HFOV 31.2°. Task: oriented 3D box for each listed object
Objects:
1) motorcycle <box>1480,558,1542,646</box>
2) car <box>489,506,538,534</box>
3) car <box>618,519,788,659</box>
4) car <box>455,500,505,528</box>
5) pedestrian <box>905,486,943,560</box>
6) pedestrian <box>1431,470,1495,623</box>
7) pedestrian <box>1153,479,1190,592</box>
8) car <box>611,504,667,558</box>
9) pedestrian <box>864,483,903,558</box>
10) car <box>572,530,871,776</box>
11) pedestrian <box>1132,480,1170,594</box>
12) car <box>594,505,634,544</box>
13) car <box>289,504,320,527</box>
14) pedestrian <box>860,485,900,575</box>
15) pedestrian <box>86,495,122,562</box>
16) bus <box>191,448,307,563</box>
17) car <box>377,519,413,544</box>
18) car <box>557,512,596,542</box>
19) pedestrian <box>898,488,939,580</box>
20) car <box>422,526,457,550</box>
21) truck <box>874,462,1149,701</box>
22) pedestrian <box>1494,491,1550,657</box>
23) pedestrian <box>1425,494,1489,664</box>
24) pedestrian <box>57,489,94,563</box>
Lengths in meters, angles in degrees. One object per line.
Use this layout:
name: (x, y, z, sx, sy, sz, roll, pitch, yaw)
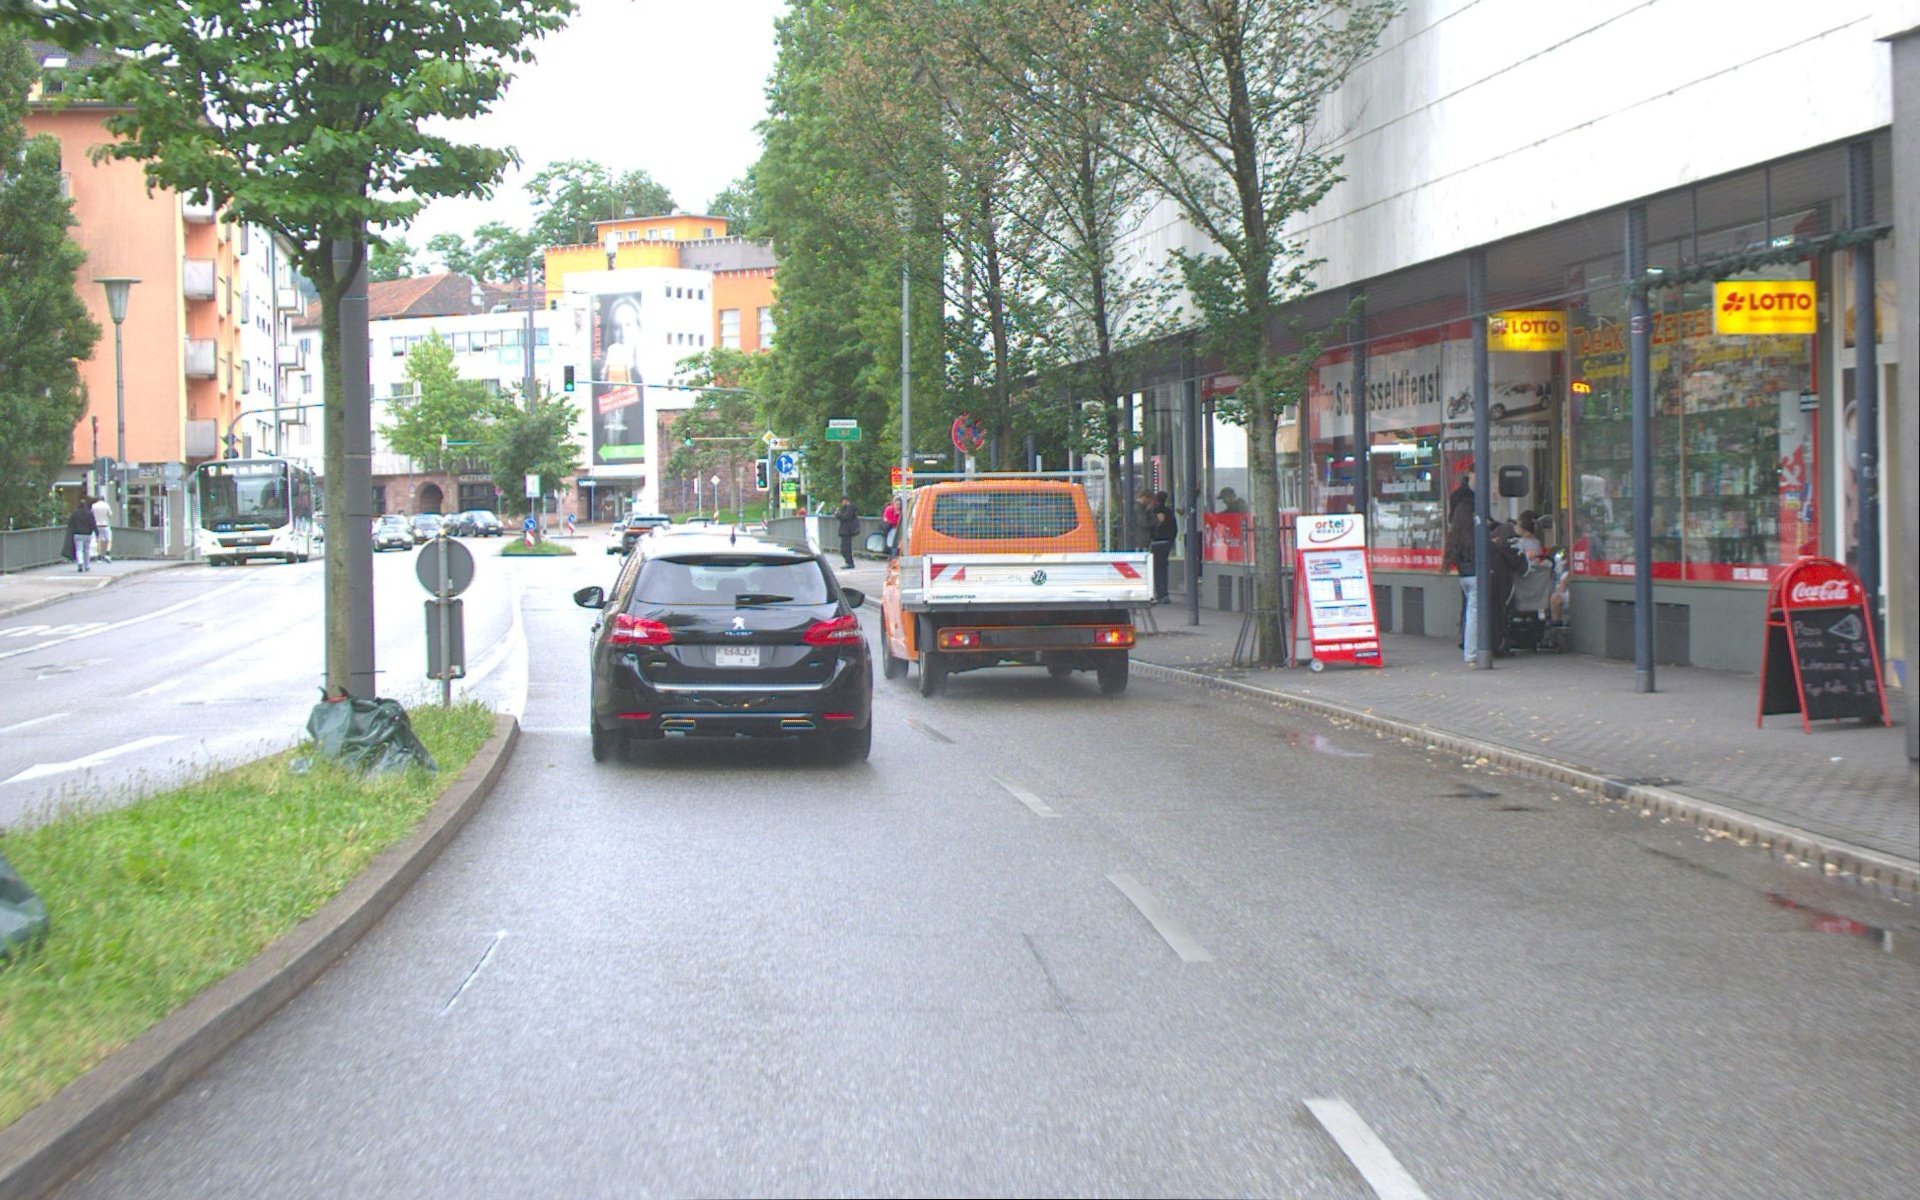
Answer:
motorcycle: (5.276, 0.012, 32.954, 0.324, 0.801, 0.920, -2, 2, -7)
car: (-27.744, -4.968, 213.725, 1.644, 1.559, 3.600, 3, -1, -32)
car: (-2.959, -0.164, 39.015, 1.794, 1.478, 4.001, -1, 1, -6)
car: (-29.310, -5.220, 209.974, 1.644, 1.559, 3.600, 3, -1, -32)
pedestrian: (-0.786, -1.682, 74.939, 0.725, 1.584, 0.607, -2, 2, -7)
pedestrian: (5.229, -0.559, 35.738, 0.430, 1.561, 0.508, 0, 2, 39)
pedestrian: (3.235, -0.997, 52.591, 0.536, 1.713, 0.534, -1, 2, 3)
car: (-10.458, -2.232, 111.924, 1.644, 1.559, 3.600, 2, -1, -7)
pedestrian: (-1.683, -1.746, 75.529, 0.717, 1.614, 0.769, -2, 2, -7)
car: (-1.616, 0.302, 22.953, 1.794, 1.478, 4.001, 1, 1, -5)
pedestrian: (2.882, -0.952, 51.857, 0.536, 1.713, 0.534, -1, 2, 1)
car: (-15.431, -3.344, 153.296, 1.644, 1.559, 3.600, 2, -1, -7)
car: (-40.953, -5.291, 214.989, 1.664, 1.395, 3.878, -2, 2, -8)
pedestrian: (-1.595, -1.395, 68.508, 0.653, 1.761, 0.923, -2, 2, -7)
pedestrian: (-22.913, -1.917, 92.027, 0.797, 1.787, 0.812, 0, 1, -5)
bus: (-20.747, -2.866, 100.800, 2.743, 3.065, 12.242, -1, 3, -9)
car: (-30.669, -3.714, 186.826, 1.791, 1.320, 4.408, -1, 2, -8)
car: (-22.643, -4.319, 202.930, 1.993, 1.678, 4.001, -1, 2, -11)
pedestrian: (-0.825, -1.323, 68.571, 0.698, 1.795, 0.607, -2, 2, -7)
car: (-29.695, -3.526, 196.112, 1.791, 1.320, 4.408, -1, 2, -10)
truck: (0.385, -0.179, 31.606, 2.121, 2.018, 4.716, 0, 1, -4)
pedestrian: (5.365, -0.254, 32.826, 0.387, 1.561, 0.430, -2, 2, -9)
pedestrian: (4.631, -0.204, 32.034, 0.429, 1.561, 0.510, -2, 2, -9)
pedestrian: (-21.299, -1.779, 82.814, 0.698, 1.787, 0.959, 0, 1, -4)
